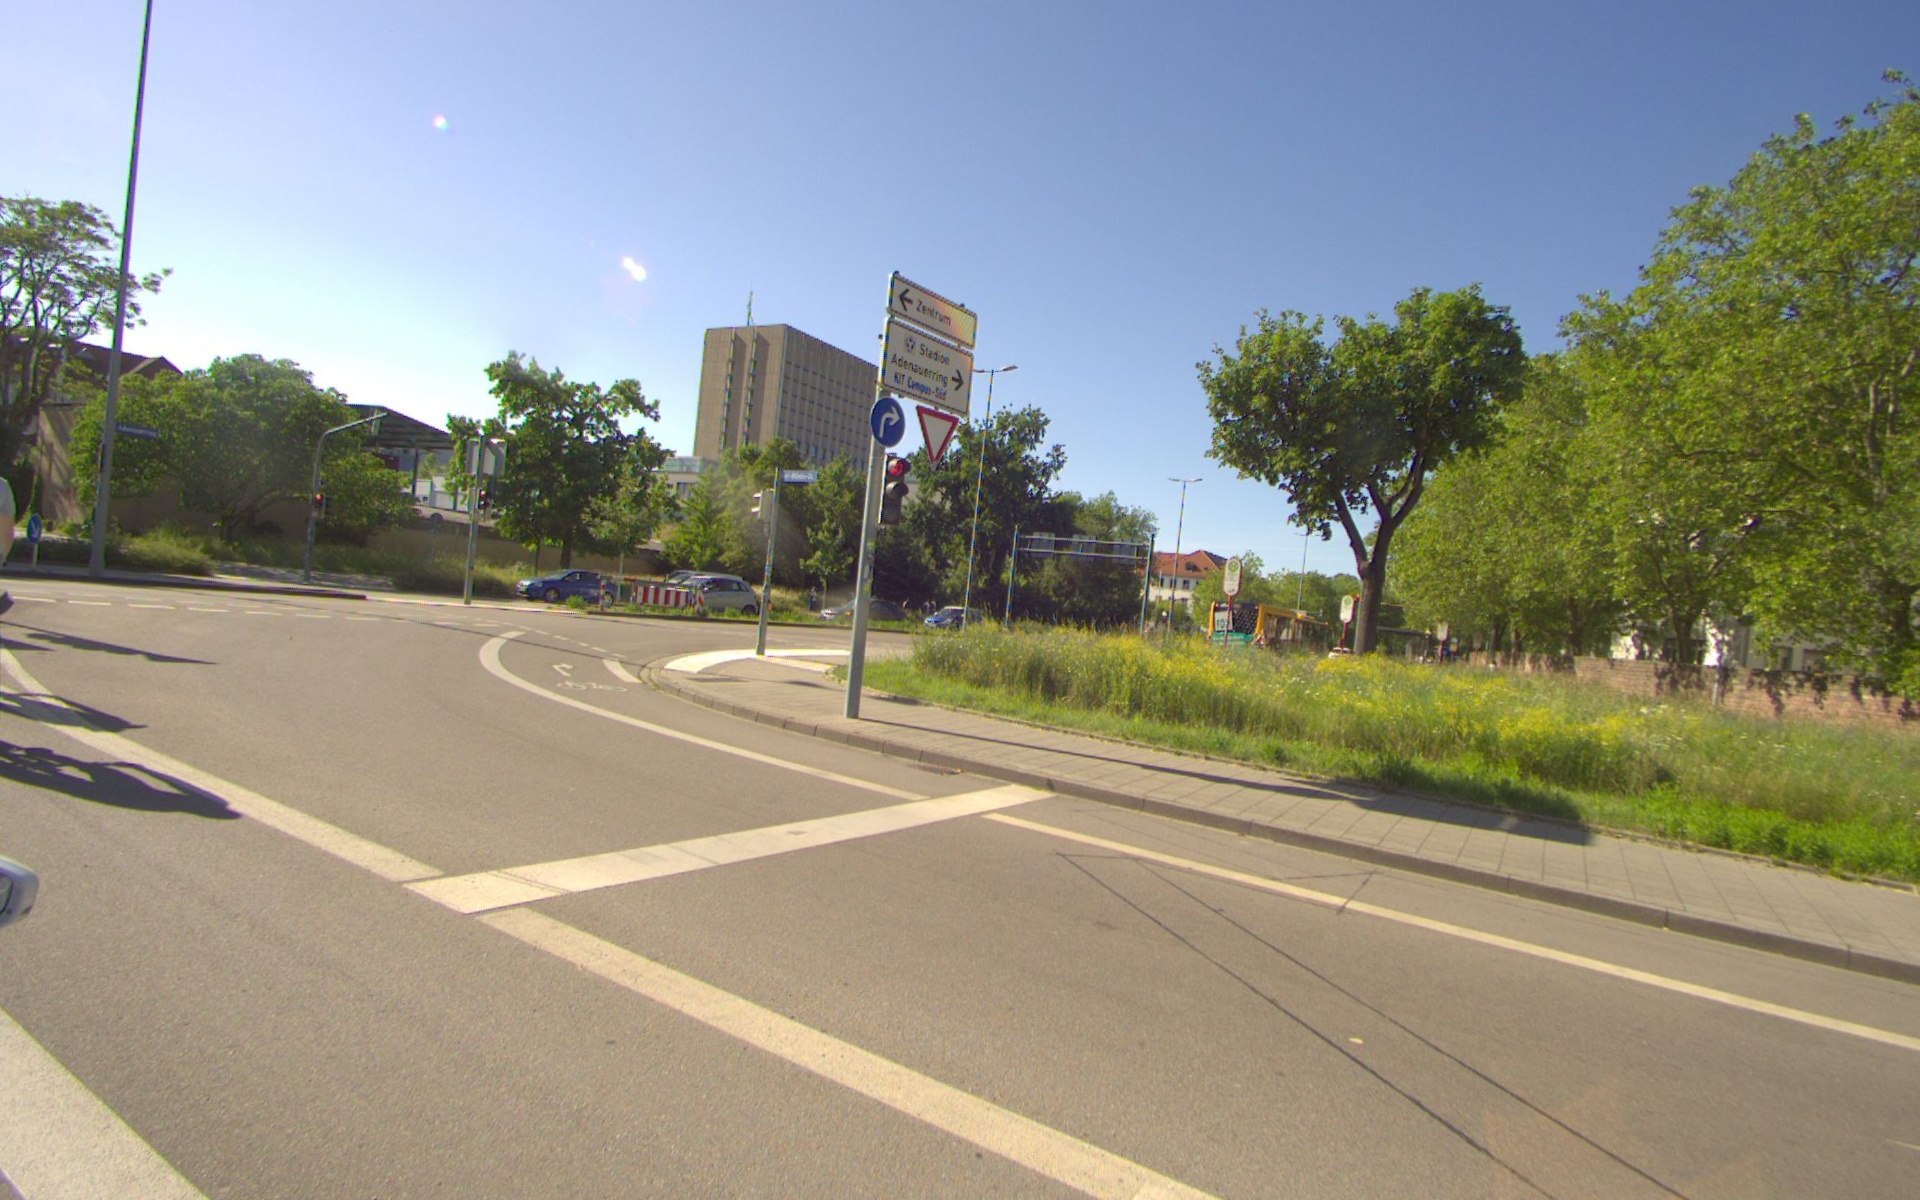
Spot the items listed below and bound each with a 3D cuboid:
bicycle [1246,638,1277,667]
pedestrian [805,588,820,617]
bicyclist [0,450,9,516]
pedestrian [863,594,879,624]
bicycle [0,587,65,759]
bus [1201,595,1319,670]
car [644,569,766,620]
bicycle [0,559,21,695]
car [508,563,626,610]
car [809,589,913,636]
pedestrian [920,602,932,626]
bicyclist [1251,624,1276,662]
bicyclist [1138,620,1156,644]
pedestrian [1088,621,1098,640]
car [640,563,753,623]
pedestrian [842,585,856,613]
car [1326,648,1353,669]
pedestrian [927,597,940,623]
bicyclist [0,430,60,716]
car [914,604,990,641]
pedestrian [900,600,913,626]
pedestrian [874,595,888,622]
[{"bbox_3d":[11.616,2.041,38.686,0.509,1.007,2.056,7,0,32],"label":"bicycle"},{"bbox_3d":[-9.375,0.168,63.754,0.519,1.801,0.561,7,1,37],"label":"pedestrian"},{"bbox_3d":[-8.137,-0.372,7.783,1.048,1.759,0.647,7,-1,26],"label":"bicyclist"},{"bbox_3d":[-5.923,0.581,66.844,0.702,1.872,0.561,7,1,35],"label":"pedestrian"},{"bbox_3d":[-6.294,0.350,6.094,1.946,0.906,0.741,6,-2,33],"label":"bicycle"},{"bbox_3d":[14.984,1.716,49.544,2.751,2.662,10.099,6,-2,32],"label":"bus"},{"bbox_3d":[-9.432,-0.191,37.433,1.840,1.426,4.046,6,0,38],"label":"car"},{"bbox_3d":[-8.202,0.090,7.778,1.935,1.014,0.661,6,-1,26],"label":"bicycle"},{"bbox_3d":[-16.090,-0.514,41.343,1.717,1.453,4.162,7,0,38],"label":"car"},{"bbox_3d":[-4.307,0.580,44.713,1.968,1.604,4.736,6,0,33],"label":"car"},{"bbox_3d":[-2.523,1.012,74.130,0.519,1.716,0.561,7,1,35],"label":"pedestrian"},{"bbox_3d":[11.681,1.653,38.722,0.509,1.368,1.002,7,1,32],"label":"bicyclist"},{"bbox_3d":[14.130,2.406,76.023,0.777,1.649,1.316,7,1,34],"label":"bicyclist"},{"bbox_3d":[12.752,2.910,96.532,0.519,1.801,0.562,7,1,31],"label":"pedestrian"},{"bbox_3d":[-12.310,-0.273,47.334,1.968,2.131,4.885,6,-2,34],"label":"car"},{"bbox_3d":[-7.433,-0.093,67.591,0.519,1.800,0.561,7,1,36],"label":"pedestrian"},{"bbox_3d":[31.367,4.823,83.137,1.669,1.525,3.772,6,0,25],"label":"car"},{"bbox_3d":[-1.930,0.743,73.547,0.519,1.801,0.561,7,1,35],"label":"pedestrian"},{"bbox_3d":[-6.219,-0.217,6.094,1.000,1.688,0.752,6,-1,33],"label":"bicyclist"},{"bbox_3d":[-0.338,1.142,50.450,1.758,1.448,3.989,6,0,34],"label":"car"},{"bbox_3d":[-3.859,0.934,71.986,0.519,1.801,0.561,7,1,35],"label":"pedestrian"},{"bbox_3d":[-5.431,0.602,68.871,0.519,1.801,0.561,7,1,35],"label":"pedestrian"}]
